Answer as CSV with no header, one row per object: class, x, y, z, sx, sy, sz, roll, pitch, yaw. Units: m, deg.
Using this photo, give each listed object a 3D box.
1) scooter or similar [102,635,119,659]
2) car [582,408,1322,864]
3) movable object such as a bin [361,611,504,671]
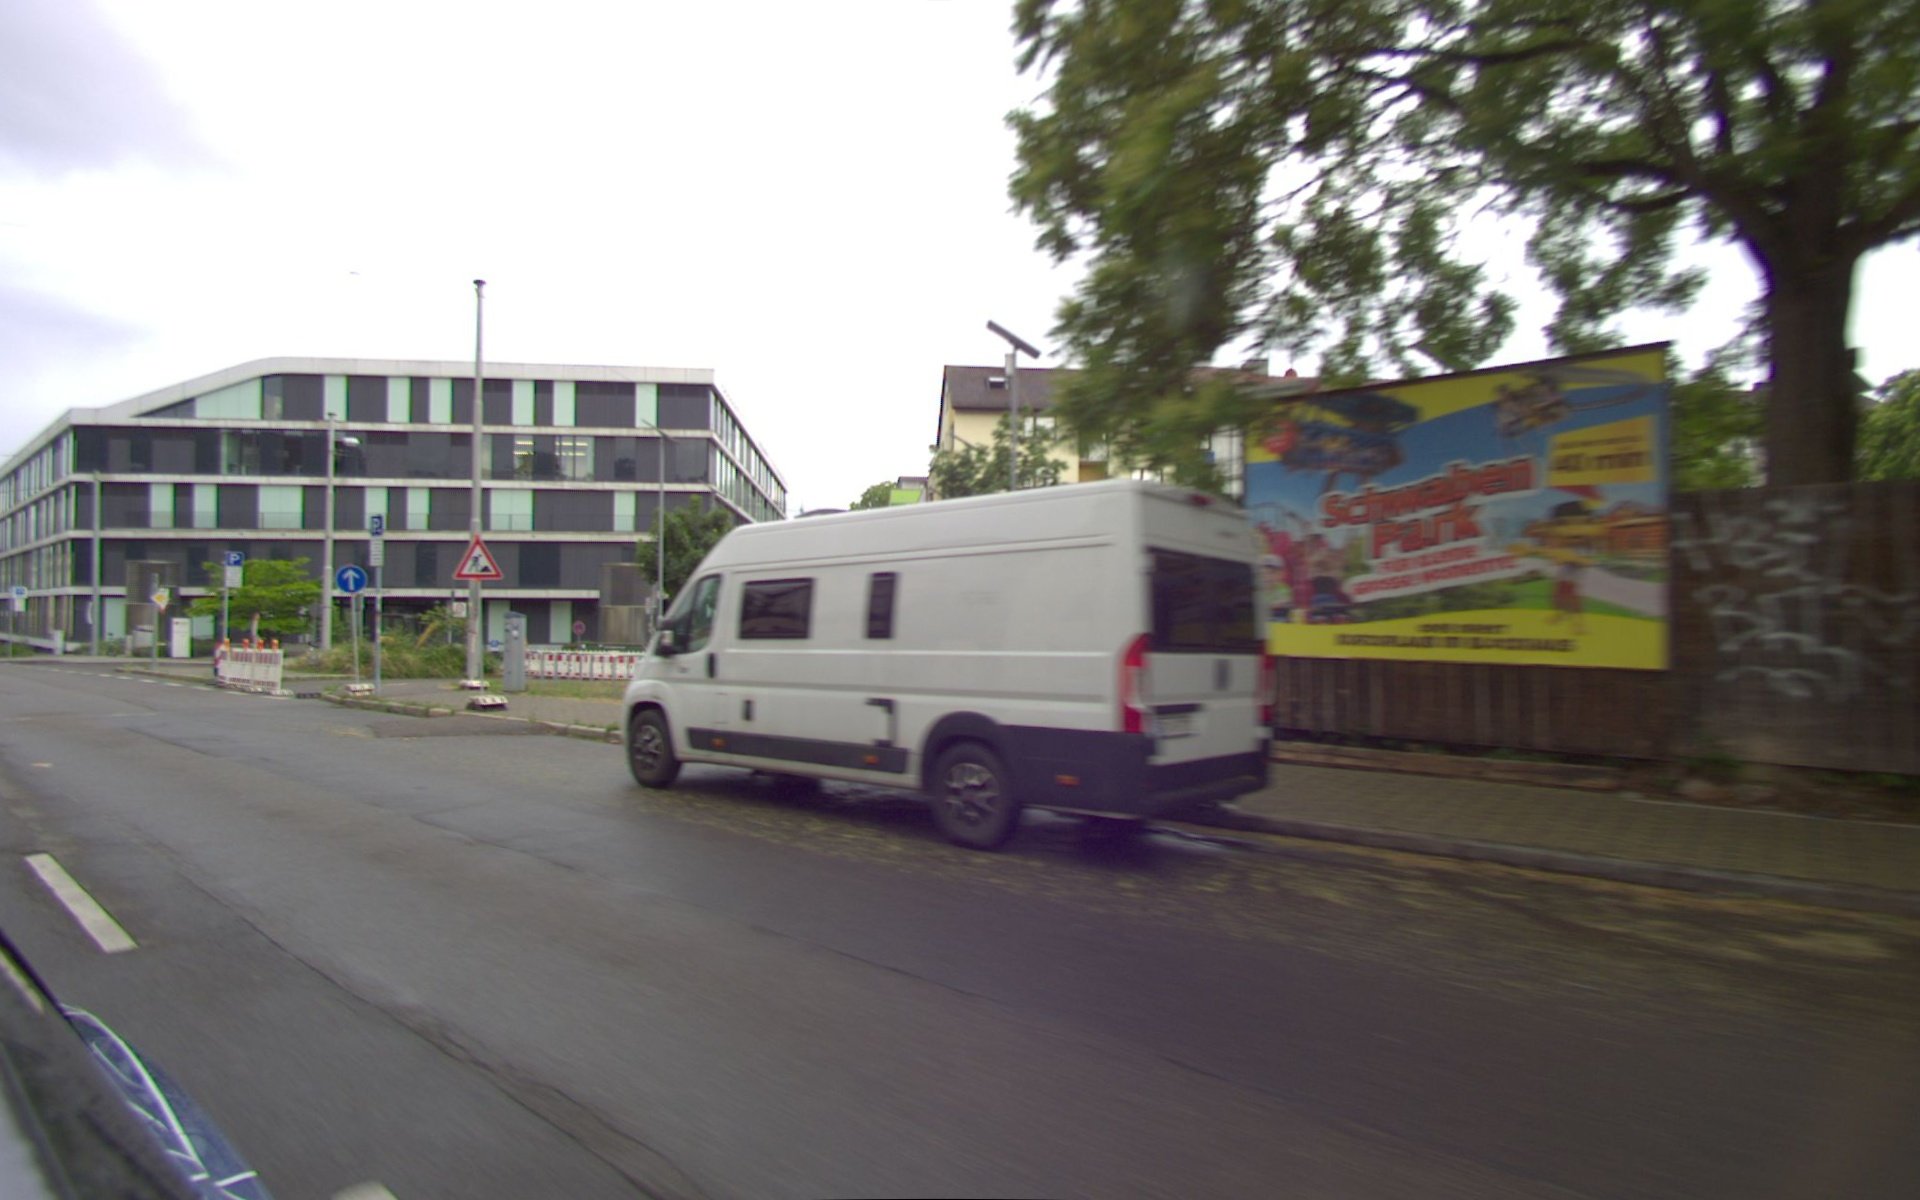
scooter or similar,-44.157,2.436,52.608,1.231,1.258,0.491,-1,-1,42
car,-0.519,0.307,8.740,6.533,2.599,2.207,-2,-4,41
movable object such as a bin,-22.253,1.706,42.818,5.217,2.478,1.670,0,-2,2
